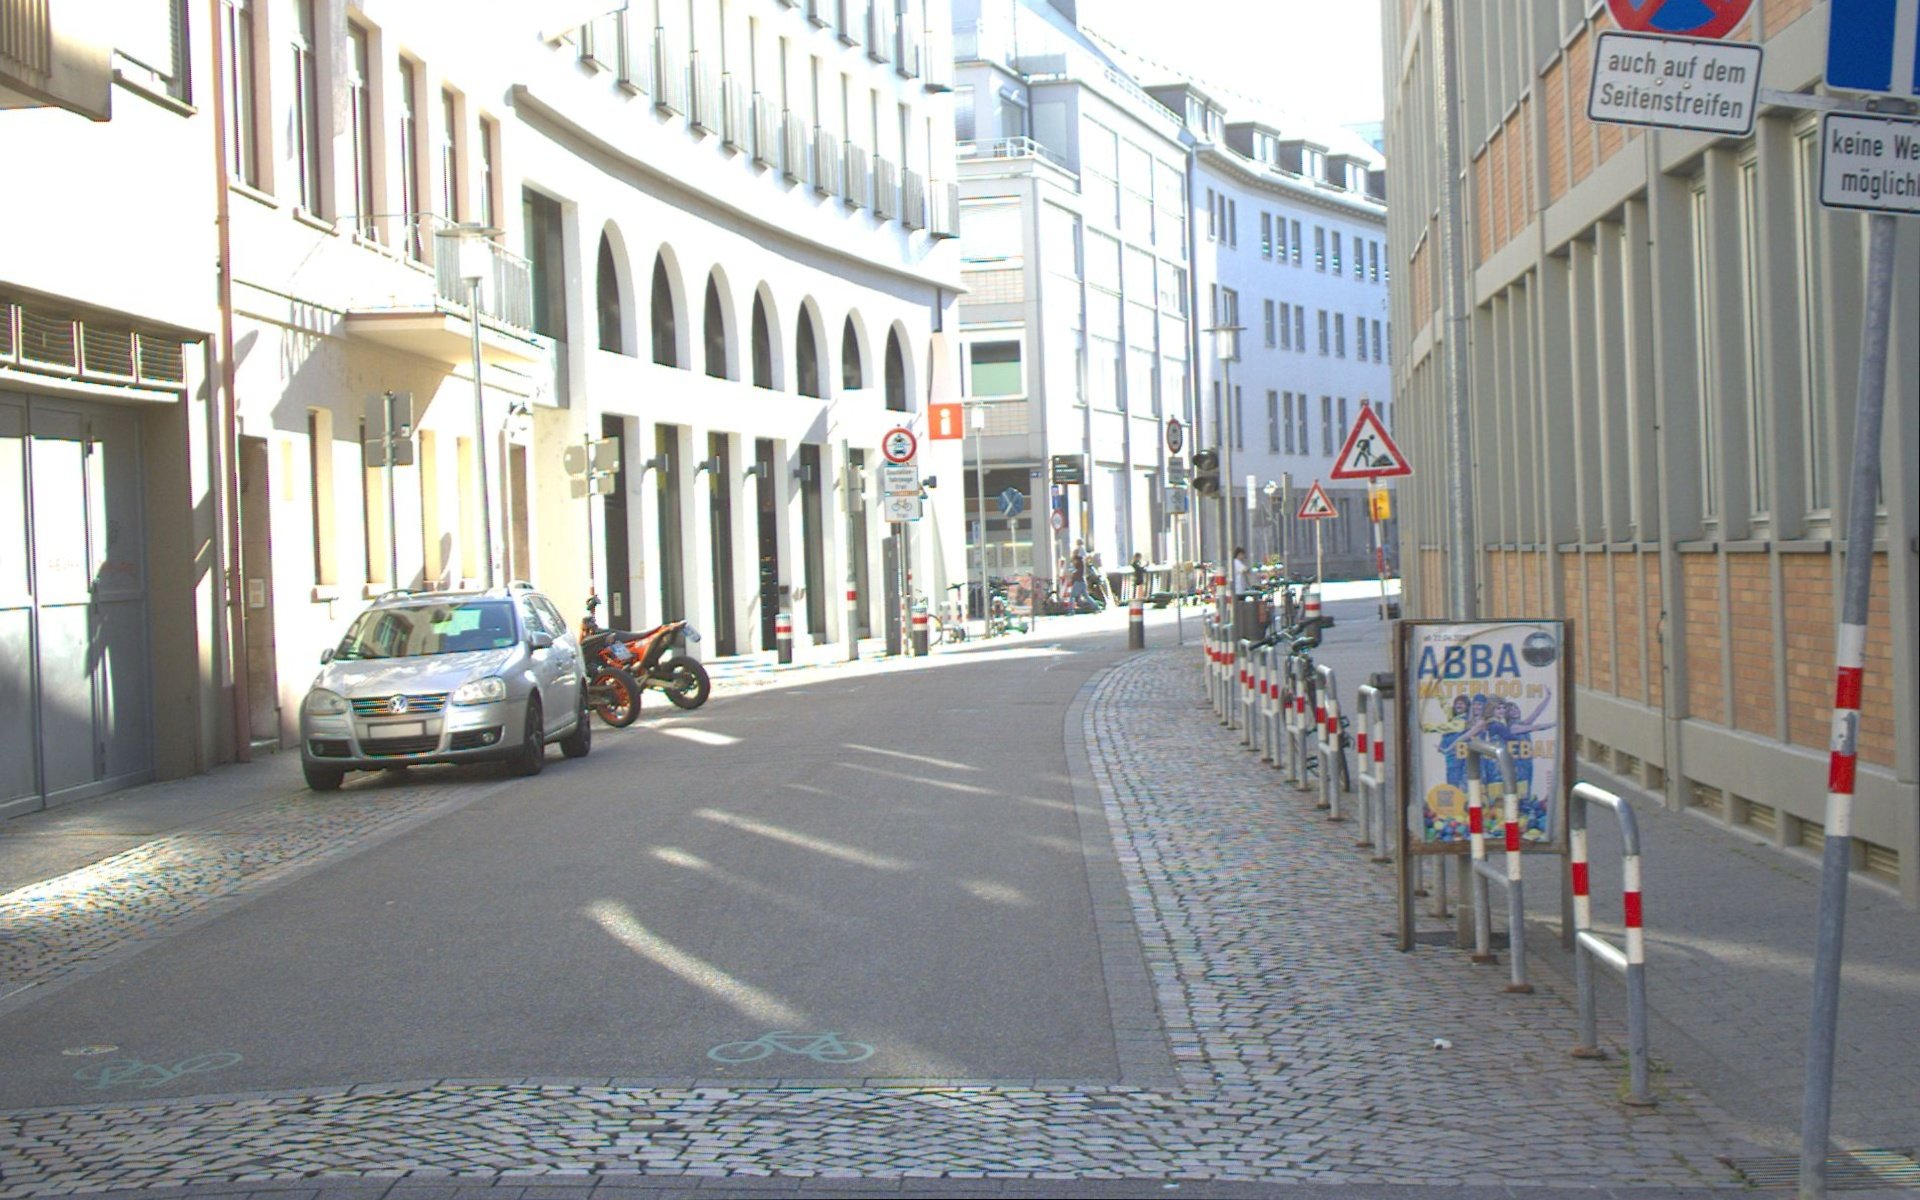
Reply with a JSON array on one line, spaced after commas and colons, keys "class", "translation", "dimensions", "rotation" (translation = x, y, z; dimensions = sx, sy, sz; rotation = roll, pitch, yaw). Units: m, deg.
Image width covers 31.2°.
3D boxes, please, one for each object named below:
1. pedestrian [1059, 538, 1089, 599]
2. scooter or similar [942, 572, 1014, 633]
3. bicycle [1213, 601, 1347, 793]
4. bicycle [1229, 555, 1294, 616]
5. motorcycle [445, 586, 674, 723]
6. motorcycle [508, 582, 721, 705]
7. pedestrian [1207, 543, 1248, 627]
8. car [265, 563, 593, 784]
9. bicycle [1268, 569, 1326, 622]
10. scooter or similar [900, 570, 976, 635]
[{"class": "pedestrian", "translation": [2.906, -0.815, 87.690], "dimensions": [0.657, 1.523, 0.482], "rotation": [-3, 1, 4]}, {"class": "scooter or similar", "translation": [0.379, 0.051, 72.599], "dimensions": [0.531, 1.193, 1.957], "rotation": [-3, -1, -30]}, {"class": "bicycle", "translation": [2.009, 0.591, 21.785], "dimensions": [0.636, 1.112, 1.931], "rotation": [-2, 1, 1]}, {"class": "bicycle", "translation": [5.577, -0.282, 63.423], "dimensions": [0.928, 1.044, 3.366], "rotation": [-2, 1, 9]}, {"class": "motorcycle", "translation": [-4.016, 0.547, 34.443], "dimensions": [2.208, 1.241, 0.574], "rotation": [-3, 1, 22]}, {"class": "motorcycle", "translation": [-3.854, 0.488, 38.283], "dimensions": [2.285, 1.241, 0.574], "rotation": [-3, 1, 22]}, {"class": "pedestrian", "translation": [4.672, -0.262, 60.081], "dimensions": [0.657, 1.436, 0.595], "rotation": [-2, 1, 4]}, {"class": "car", "translation": [-4.084, 0.516, 27.028], "dimensions": [1.765, 1.465, 3.813], "rotation": [-4, 1, 2]}, {"class": "bicycle", "translation": [6.821, -0.102, 69.442], "dimensions": [0.928, 0.957, 3.366], "rotation": [-2, 1, 9]}, {"class": "scooter or similar", "translation": [-0.440, 0.056, 68.003], "dimensions": [0.531, 1.193, 1.957], "rotation": [-3, -1, -30]}]
